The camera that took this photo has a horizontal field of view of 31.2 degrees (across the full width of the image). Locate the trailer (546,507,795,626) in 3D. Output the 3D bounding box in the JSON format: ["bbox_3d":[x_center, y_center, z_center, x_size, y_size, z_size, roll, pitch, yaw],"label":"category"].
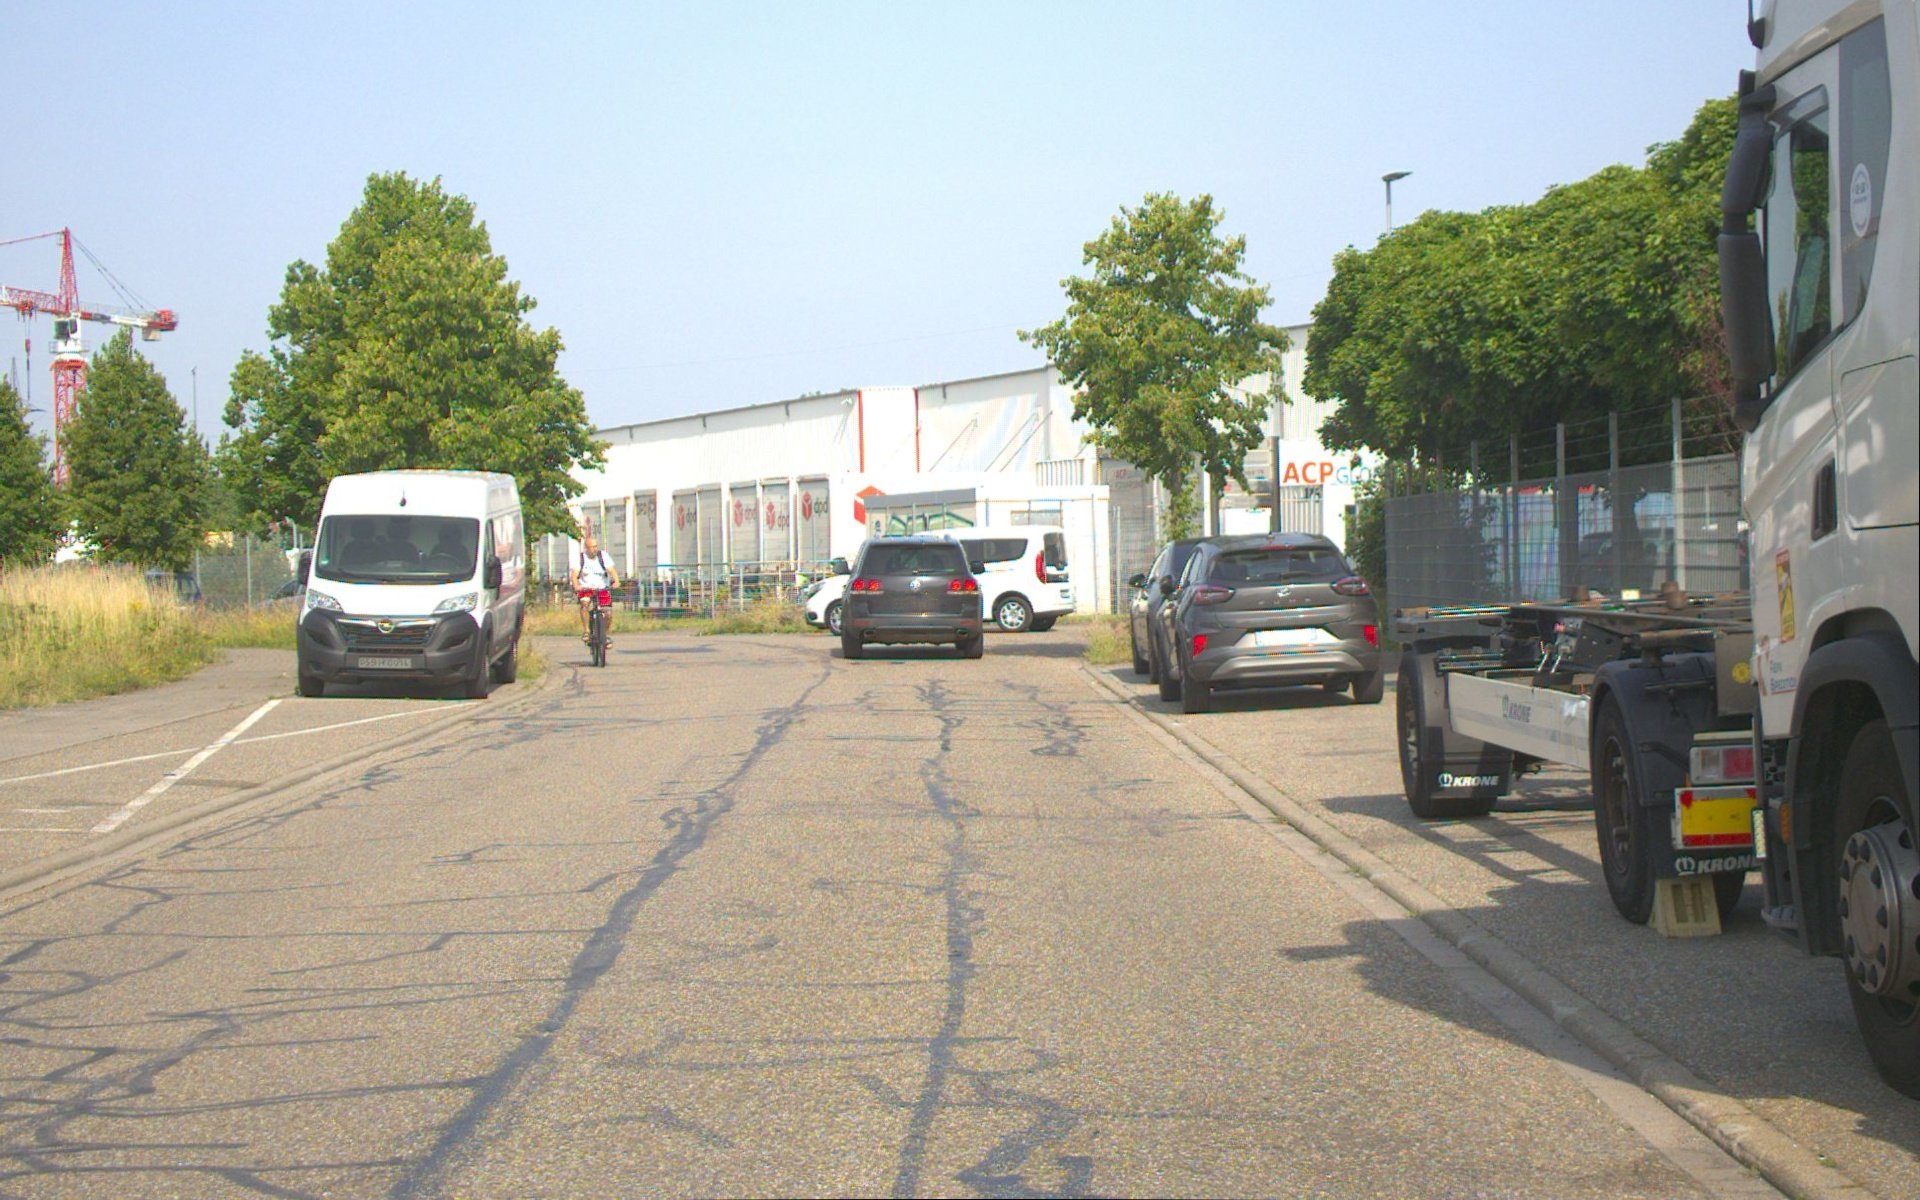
[{"bbox_3d":[-9.932,-1.135,118.156,7.960,3.880,2.776,1,0,-24],"label":"trailer"}]

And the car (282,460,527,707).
[{"bbox_3d":[-6.331,-0.212,39.917,2.102,2.586,6.505,1,1,-3],"label":"car"}]

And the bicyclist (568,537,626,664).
[{"bbox_3d":[-4.991,-0.003,47.330,0.639,1.713,1.165,-1,1,0],"label":"bicyclist"}]

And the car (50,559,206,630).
[{"bbox_3d":[-19.334,-0.123,79.788,1.969,1.568,4.112,-1,0,-38],"label":"car"}]

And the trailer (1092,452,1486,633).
[{"bbox_3d":[7.523,-1.333,78.390,8.534,3.880,2.776,-2,1,-22],"label":"trailer"}]

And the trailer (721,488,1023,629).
[{"bbox_3d":[-2.555,-1.176,100.341,8.305,3.880,2.776,1,0,-24],"label":"trailer"}]

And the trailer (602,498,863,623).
[{"bbox_3d":[-7.432,-1.266,112.346,7.960,3.880,2.776,1,0,-24],"label":"trailer"}]

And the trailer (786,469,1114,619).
[{"bbox_3d":[-0.253,-1.508,94.584,8.534,3.880,2.776,1,0,-24],"label":"trailer"}]

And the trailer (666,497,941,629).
[{"bbox_3d":[-4.863,-1.133,107.000,8.031,3.880,2.776,1,0,-24],"label":"trailer"}]

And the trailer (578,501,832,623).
[{"bbox_3d":[-8.546,-1.265,115.418,7.960,3.880,2.776,1,0,-24],"label":"trailer"}]

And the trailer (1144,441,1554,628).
[{"bbox_3d":[8.569,-1.427,75.573,8.534,3.881,2.776,-1,-2,-22],"label":"trailer"}]

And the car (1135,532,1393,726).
[{"bbox_3d":[2.682,0.241,31.197,1.880,1.568,4.113,-2,0,0],"label":"car"}]

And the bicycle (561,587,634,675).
[{"bbox_3d":[-4.981,0.416,47.321,0.716,1.118,2.219,-3,1,0],"label":"bicycle"}]

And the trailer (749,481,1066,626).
[{"bbox_3d":[-1.468,-1.290,97.546,8.534,3.880,2.776,1,0,-24],"label":"trailer"}]

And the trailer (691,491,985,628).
[{"bbox_3d":[-3.655,-1.198,103.205,8.305,3.880,2.776,1,0,-24],"label":"trailer"}]

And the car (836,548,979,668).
[{"bbox_3d":[-0.717,0.105,48.159,1.880,1.581,4.113,-1,0,0],"label":"car"}]

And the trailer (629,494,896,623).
[{"bbox_3d":[-6.275,-1.289,109.637,7.960,3.880,2.776,1,0,-24],"label":"trailer"}]

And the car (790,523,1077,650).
[{"bbox_3d":[-0.446,-0.228,60.350,4.612,2.103,2.127,-1,0,14],"label":"car"}]

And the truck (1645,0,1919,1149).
[{"bbox_3d":[3.561,-0.729,7.233,2.691,3.951,6.048,-3,1,-2],"label":"truck"}]

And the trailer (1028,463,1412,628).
[{"bbox_3d":[6.170,-1.253,81.206,8.730,3.748,2.791,0,0,-24],"label":"trailer"}]

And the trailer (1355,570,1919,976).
[{"bbox_3d":[3.216,0.549,15.267,1.938,1.231,7.451,-3,1,-1],"label":"trailer"}]
